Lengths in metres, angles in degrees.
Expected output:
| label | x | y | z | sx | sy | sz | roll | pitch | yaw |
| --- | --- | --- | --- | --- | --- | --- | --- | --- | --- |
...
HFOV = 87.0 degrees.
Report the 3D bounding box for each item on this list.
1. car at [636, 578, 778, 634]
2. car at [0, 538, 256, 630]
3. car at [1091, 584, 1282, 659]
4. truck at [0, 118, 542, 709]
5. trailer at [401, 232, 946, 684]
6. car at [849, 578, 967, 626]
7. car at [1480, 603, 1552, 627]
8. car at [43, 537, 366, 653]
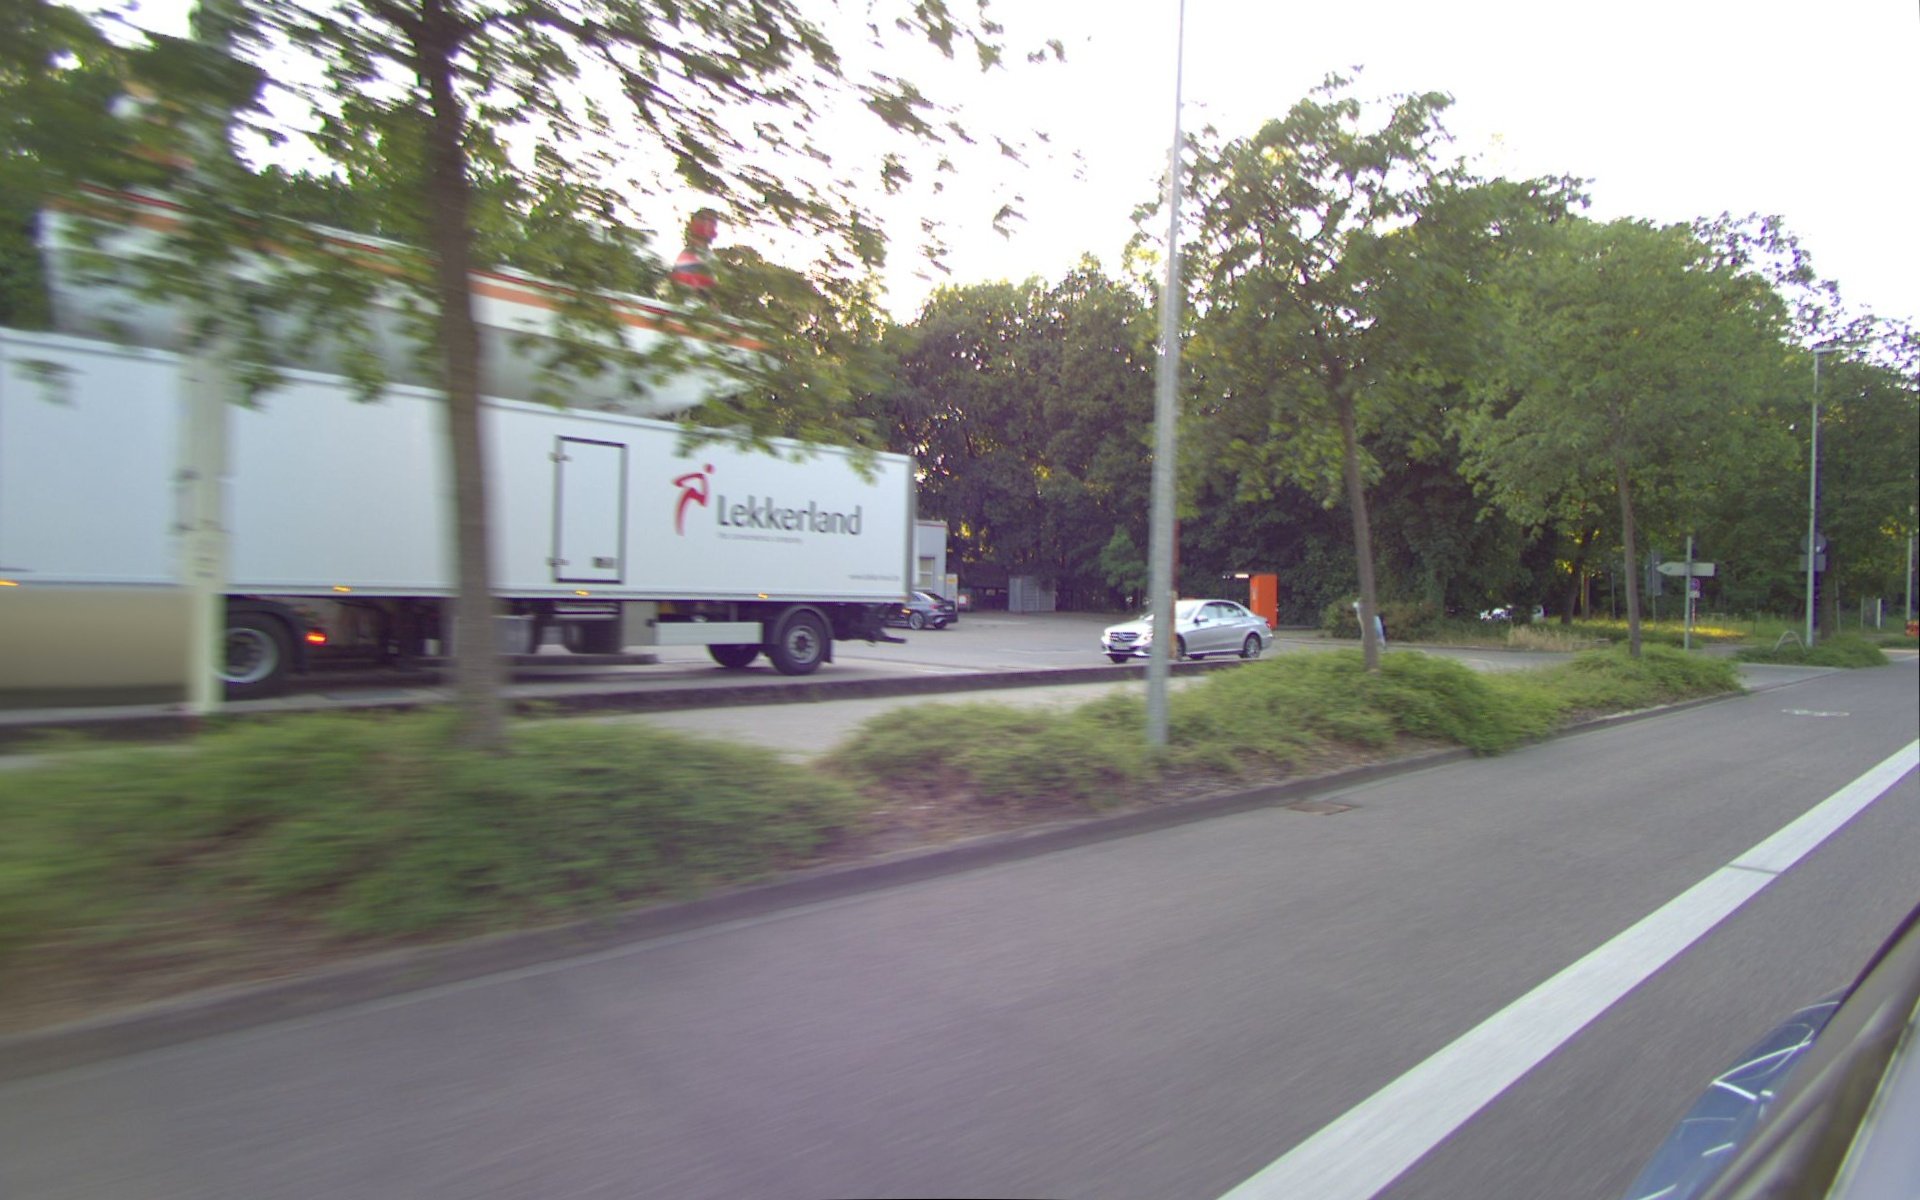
| label | x | y | z | sx | sy | sz | roll | pitch | yaw |
| --- | --- | --- | --- | --- | --- | --- | --- | --- | --- |
| car | -8.032 | 0.155 | 32.154 | 4.074 | 1.540 | 1.665 | 3 | 2 | 16 |
| car | -19.039 | -0.341 | 22.483 | 5.404 | 1.888 | 1.952 | 1 | 1 | -40 |
| car | 5.391 | 0.492 | 23.775 | 4.729 | 1.604 | 1.774 | 1 | -1 | -37 |
| truck | -9.407 | -1.771 | 11.192 | 8.268 | 5.524 | 3.036 | 0 | 1 | -44 |
| trailer | -4.153 | -1.713 | 16.189 | 7.801 | 5.531 | 3.023 | 1 | 0 | -44 |
| car | -1.934 | 0.036 | 37.174 | 4.099 | 1.540 | 1.655 | 3 | 2 | 31 |
| car | 35.861 | 0.975 | 65.296 | 3.916 | 1.414 | 1.544 | 1 | 0 | -11 |
| car | -13.738 | -0.145 | 18.650 | 4.593 | 1.888 | 1.875 | -1 | 2 | -40 |
